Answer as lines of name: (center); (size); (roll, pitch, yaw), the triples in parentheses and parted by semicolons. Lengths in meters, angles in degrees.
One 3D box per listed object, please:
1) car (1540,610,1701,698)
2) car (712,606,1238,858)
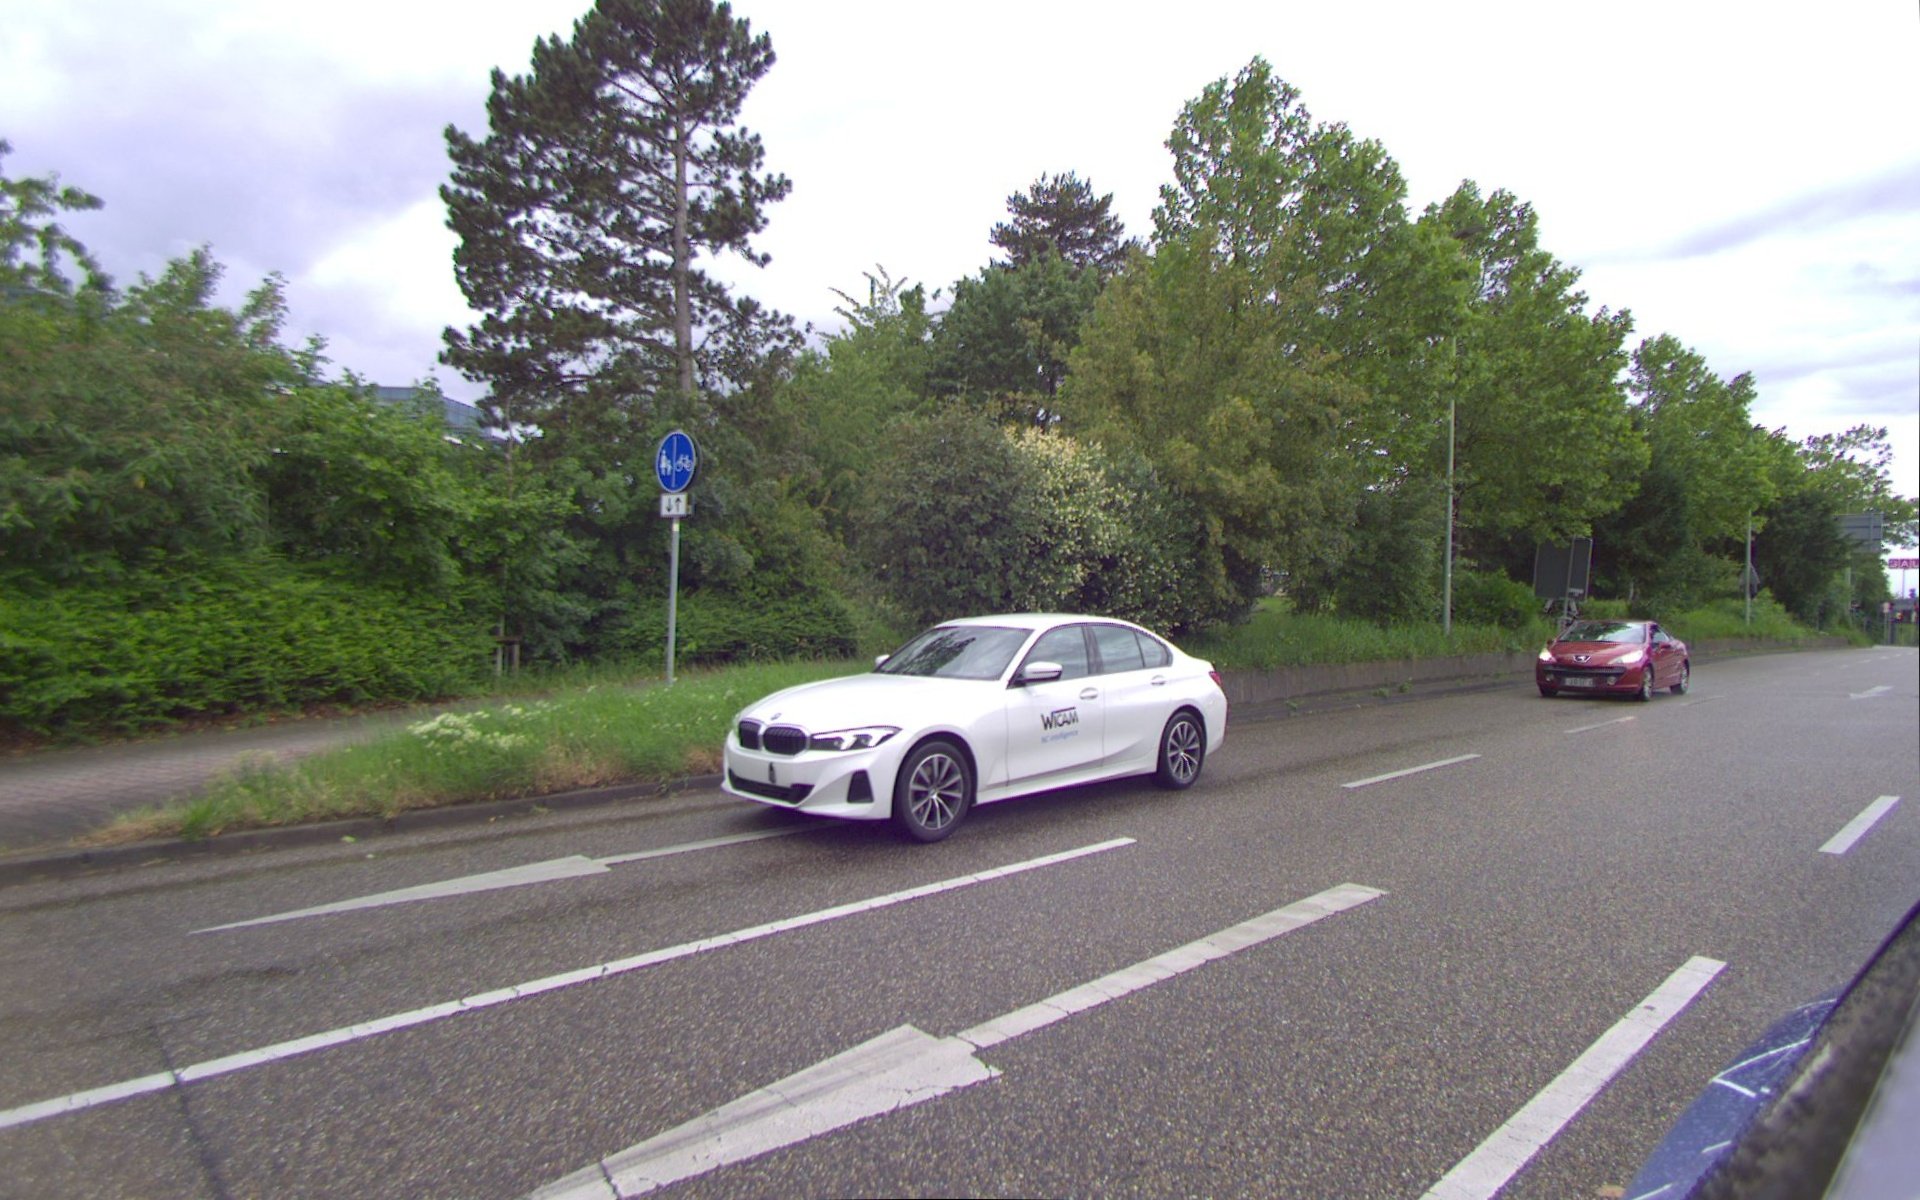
car: (12.134, 0.911, 18.509); (3.627, 1.421, 1.627); (0, 0, -43)
car: (0.343, 0.780, 7.994); (4.234, 1.445, 1.666); (0, 0, -44)
